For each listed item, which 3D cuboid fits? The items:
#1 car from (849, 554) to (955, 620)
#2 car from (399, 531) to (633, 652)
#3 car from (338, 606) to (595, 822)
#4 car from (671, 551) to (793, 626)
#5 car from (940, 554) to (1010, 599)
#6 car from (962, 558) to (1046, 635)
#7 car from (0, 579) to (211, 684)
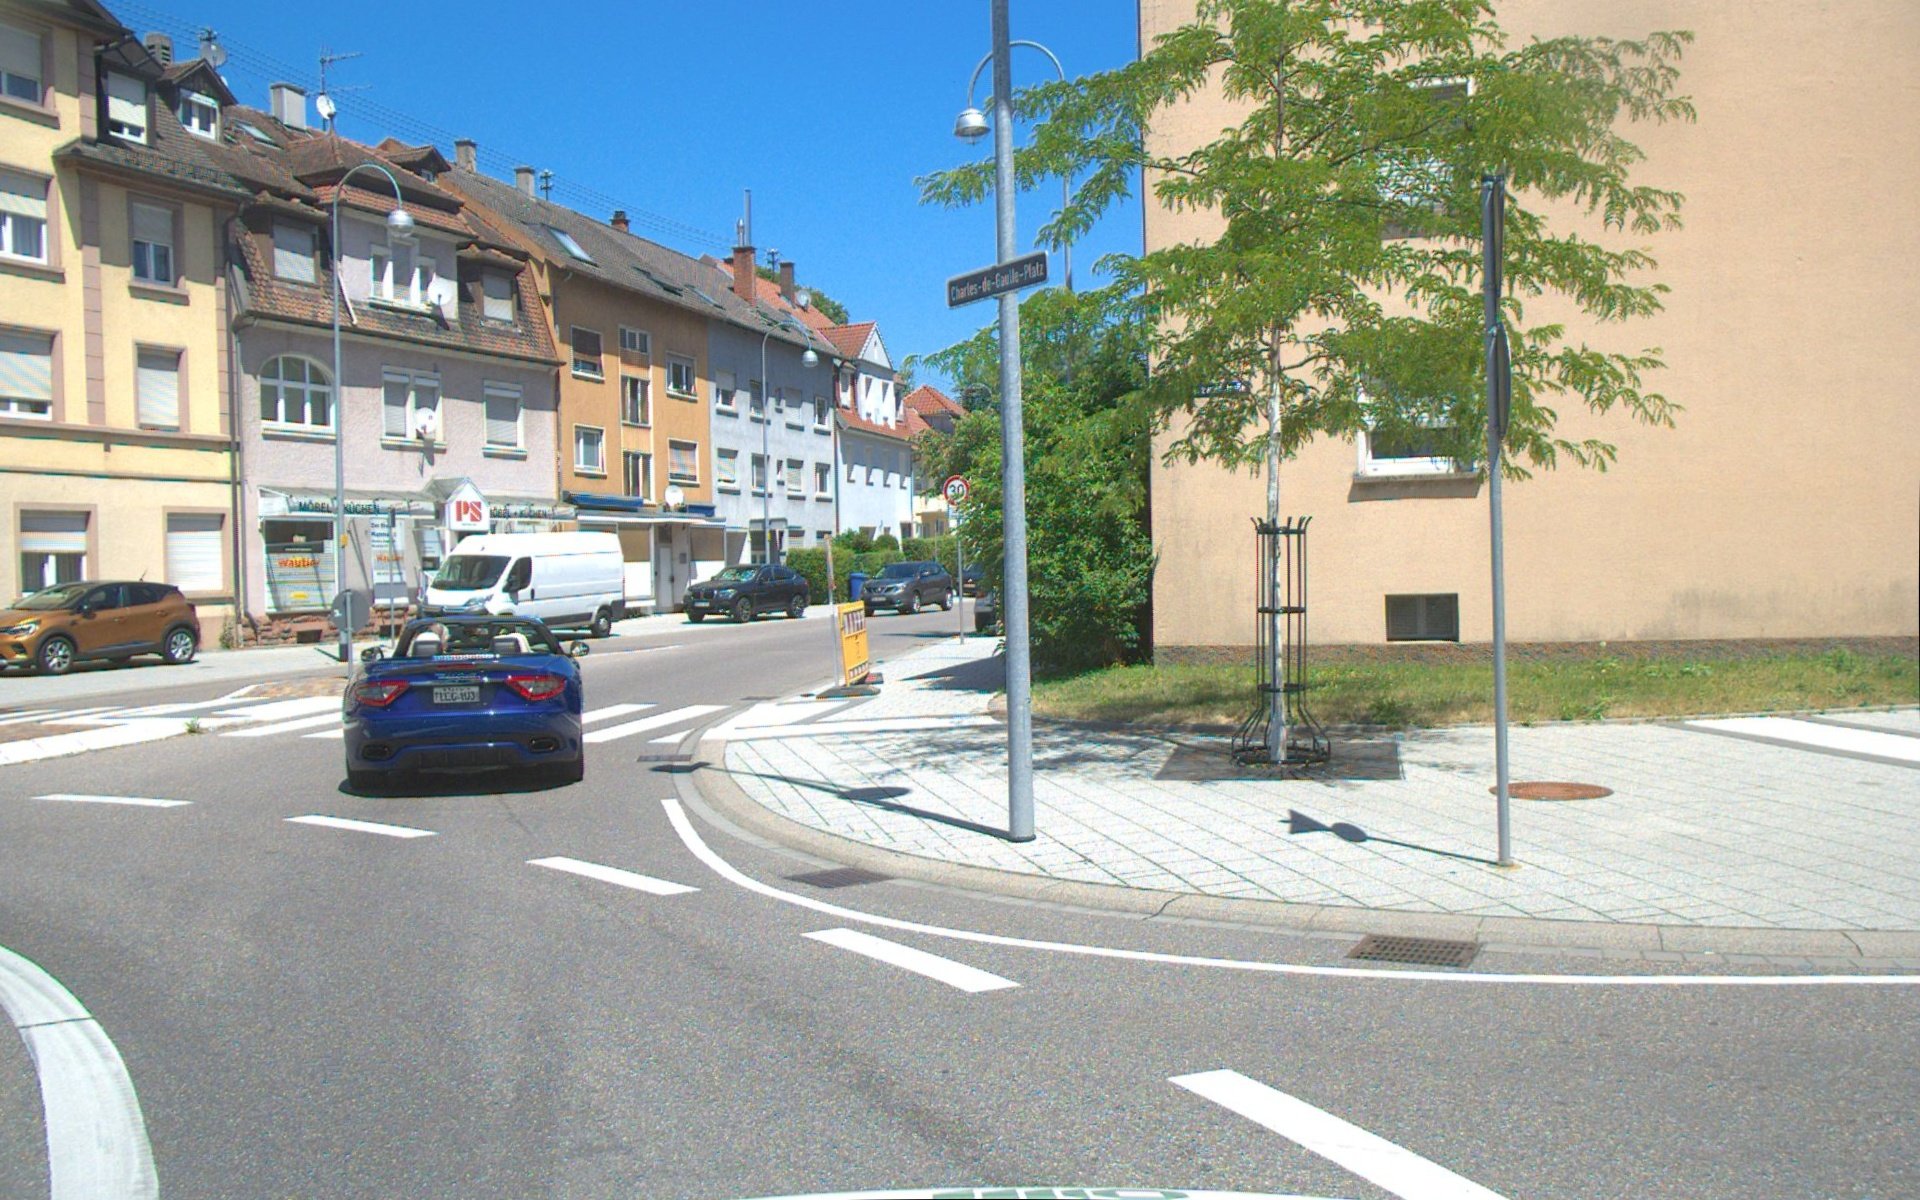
[{"bbox_3d":[-1.735,-0.426,51.228,1.951,1.846,4.216,-3,0,16],"label":"car"},{"bbox_3d":[-10.172,-0.280,38.551,2.100,2.576,6.240,1,2,19],"label":"car"},{"bbox_3d":[-4.272,0.912,14.752,1.839,1.557,4.489,-2,-1,-14],"label":"car"},{"bbox_3d":[-6.636,-0.367,48.567,2.024,2.048,4.003,-2,1,16],"label":"car"},{"bbox_3d":[0.637,-0.979,68.087,1.802,1.735,3.805,-2,1,17],"label":"car"},{"bbox_3d":[1.098,-0.133,39.582,1.839,1.659,3.594,-1,3,4],"label":"car"},{"bbox_3d":[-15.706,0.498,29.777,1.566,1.644,4.092,1,2,22],"label":"car"}]
